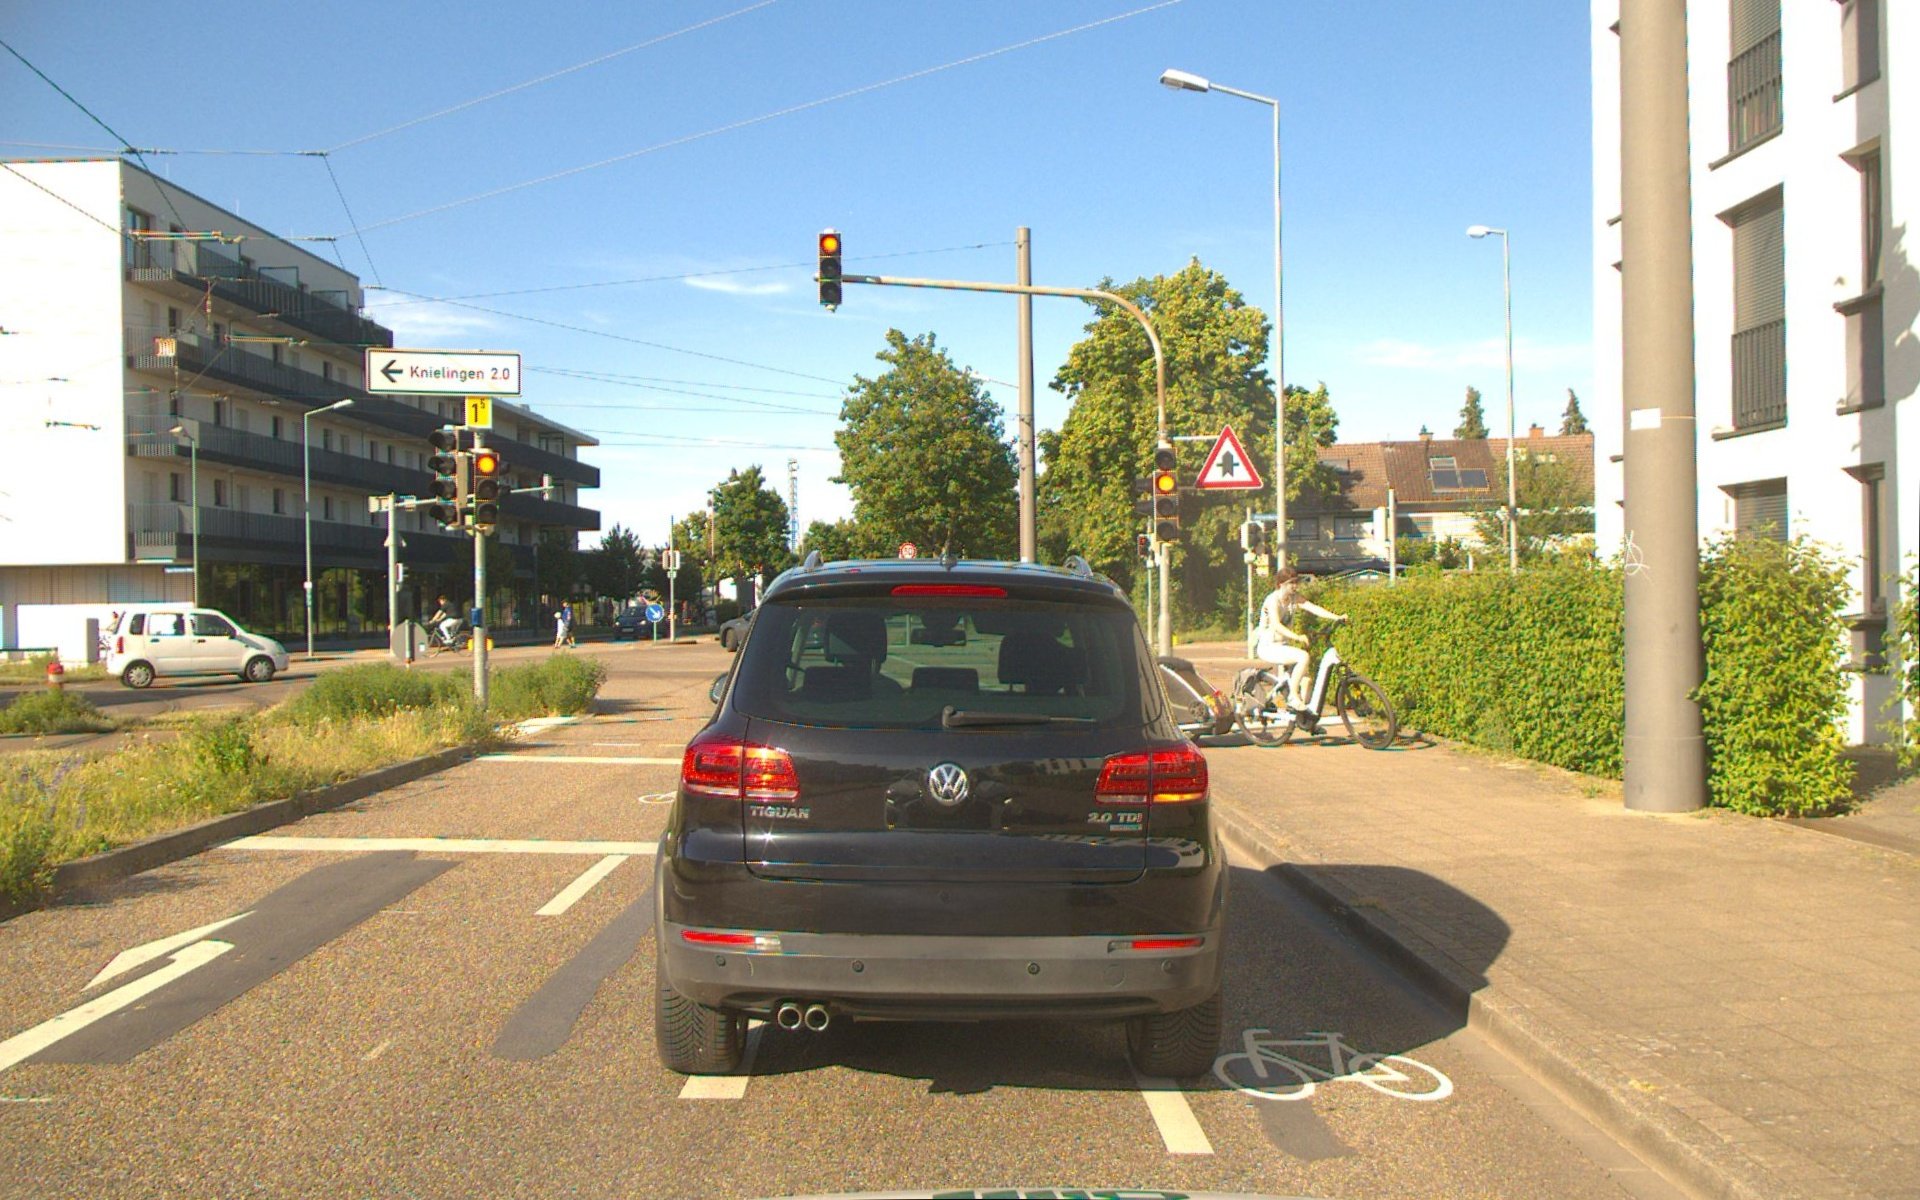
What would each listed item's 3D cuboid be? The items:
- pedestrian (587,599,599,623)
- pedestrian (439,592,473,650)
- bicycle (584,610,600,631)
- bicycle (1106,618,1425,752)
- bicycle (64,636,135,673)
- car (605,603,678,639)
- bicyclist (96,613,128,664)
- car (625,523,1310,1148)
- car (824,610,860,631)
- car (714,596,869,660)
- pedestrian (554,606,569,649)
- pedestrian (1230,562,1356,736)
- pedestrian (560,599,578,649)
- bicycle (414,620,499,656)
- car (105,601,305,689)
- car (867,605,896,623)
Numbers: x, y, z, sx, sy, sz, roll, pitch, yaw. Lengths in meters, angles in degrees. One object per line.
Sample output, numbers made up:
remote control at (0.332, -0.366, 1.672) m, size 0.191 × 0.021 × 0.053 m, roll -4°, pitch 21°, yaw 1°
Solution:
pedestrian at (-23.717, 0.693, 106.795) m, size 0.629 × 1.535 × 0.596 m, roll 1°, pitch -1°, yaw -1°
pedestrian at (-15.279, 0.638, 50.113) m, size 0.796 × 1.721 × 0.621 m, roll -1°, pitch 0°, yaw 2°
bicycle at (-23.735, 1.329, 106.755) m, size 0.617 × 1.355 × 1.912 m, roll 1°, pitch 0°, yaw -1°
bicycle at (2.957, 0.805, 16.374) m, size 3.069 × 1.194 × 0.926 m, roll -2°, pitch 0°, yaw 42°
bicycle at (-27.812, 1.771, 53.467) m, size 1.818 × 1.144 × 0.822 m, roll 1°, pitch 0°, yaw -4°
car at (-14.706, 0.947, 76.503) m, size 1.951 × 1.601 × 4.343 m, roll 1°, pitch 0°, yaw 9°
bicyclist at (-27.432, 1.235, 53.494) m, size 0.626 × 1.642 × 0.784 m, roll 1°, pitch -1°, yaw -4°
car at (-0.002, 0.649, 6.484) m, size 1.831 × 1.666 × 3.999 m, roll 1°, pitch 0°, yaw -1°
car at (-9.098, 1.553, 127.484) m, size 1.951 × 1.601 × 4.342 m, roll 1°, pitch 0°, yaw 7°
car at (-4.778, 0.772, 46.855) m, size 3.912 × 1.713 × 1.996 m, roll 1°, pitch 0°, yaw 30°
pedestrian at (-14.244, 0.969, 59.167) m, size 0.433 × 1.529 × 0.517 m, roll 1°, pitch -1°, yaw -6°
pedestrian at (3.243, 0.459, 16.105) m, size 0.839 × 1.622 × 0.909 m, roll -2°, pitch 0°, yaw 41°
pedestrian at (-14.135, 0.856, 59.738) m, size 0.532 × 1.774 × 0.517 m, roll 1°, pitch -1°, yaw -6°
bicycle at (-15.246, 1.146, 50.107) m, size 2.360 × 1.020 × 0.641 m, roll -1°, pitch 0°, yaw 1°
car at (-16.182, 0.910, 35.489) m, size 3.644 × 1.750 × 1.847 m, roll -1°, pitch 0°, yaw -35°
car at (-7.218, 1.305, 152.758) m, size 1.951 × 1.601 × 4.342 m, roll 1°, pitch 0°, yaw 7°
